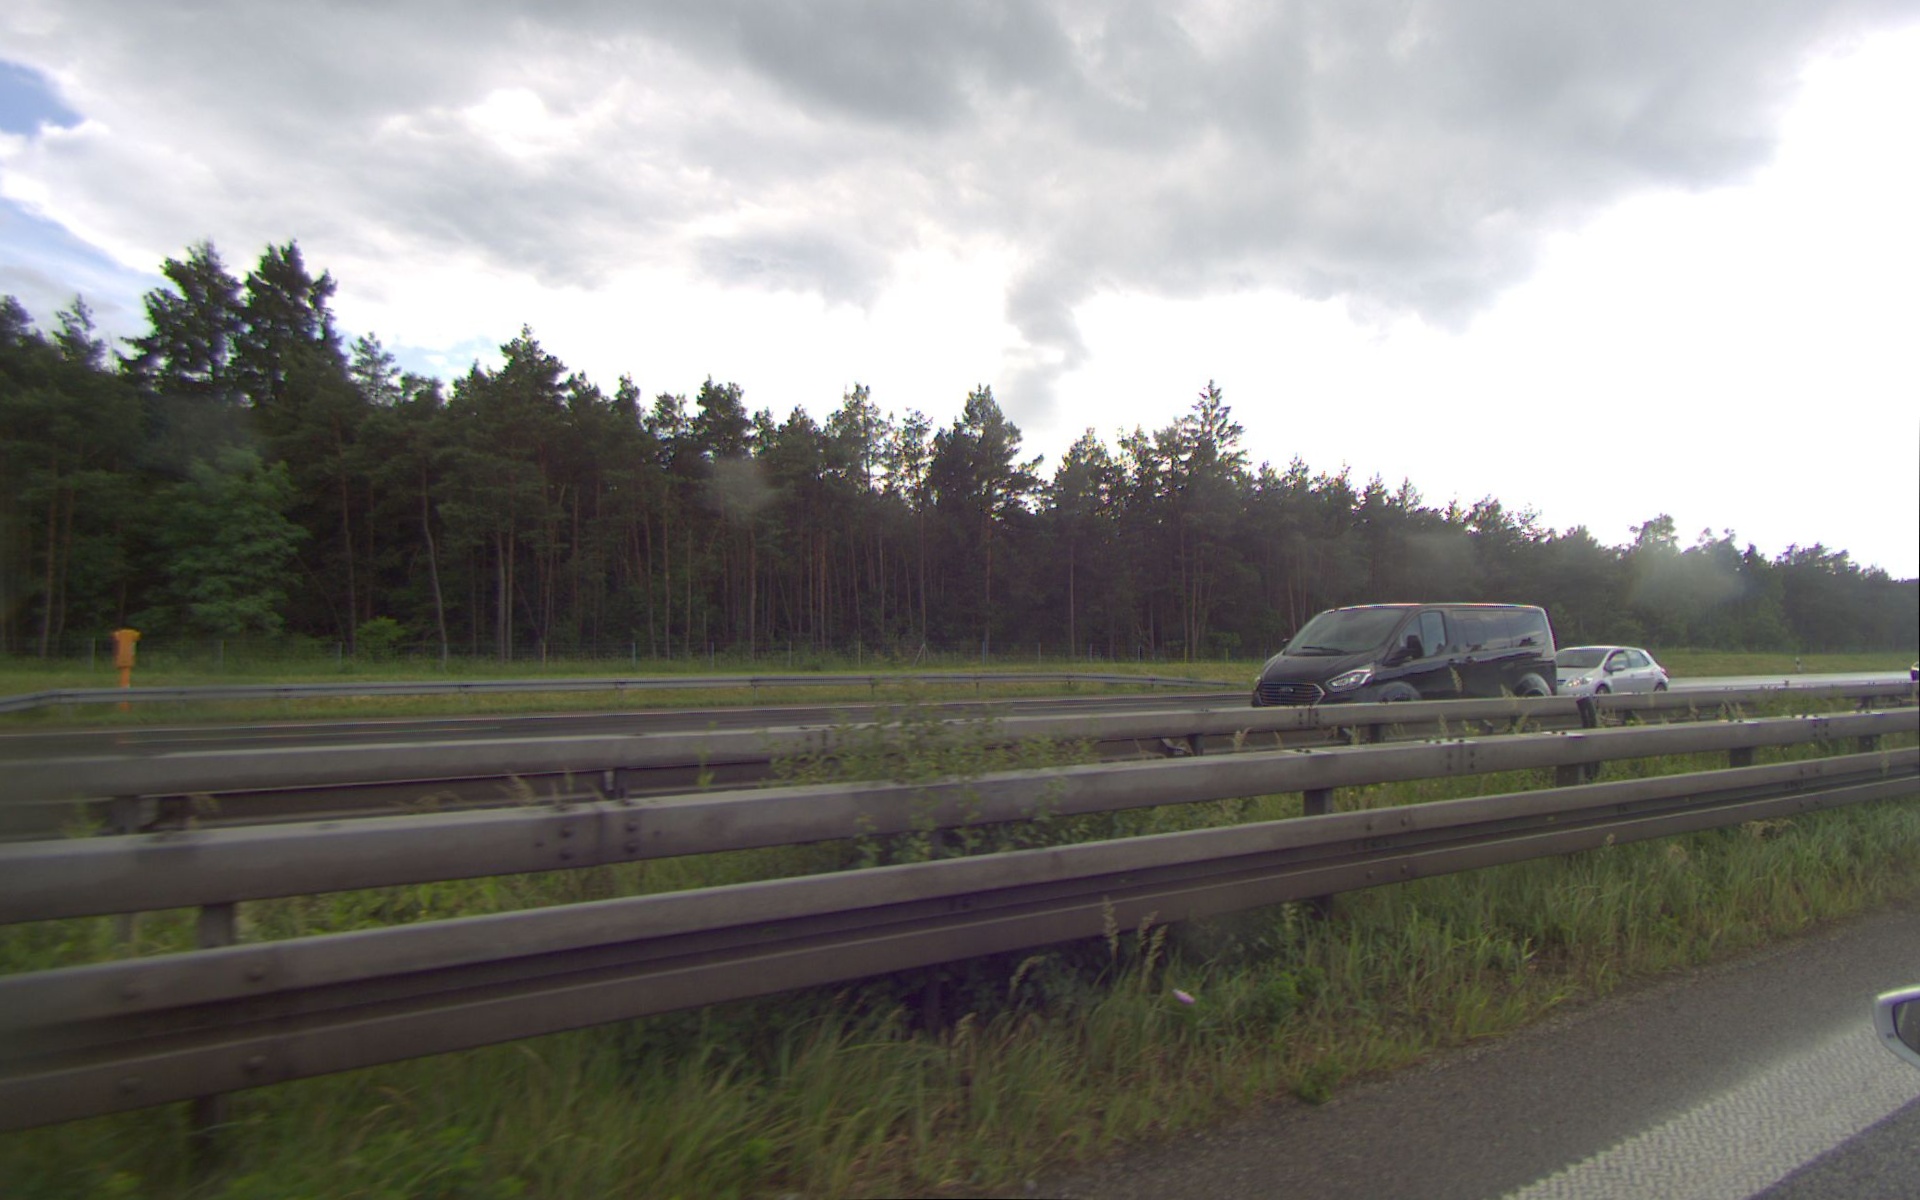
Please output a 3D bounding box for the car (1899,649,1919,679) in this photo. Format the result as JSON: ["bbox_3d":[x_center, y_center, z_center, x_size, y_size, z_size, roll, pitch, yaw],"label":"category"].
[{"bbox_3d":[45.304,2.911,46.385,4.208,1.376,1.690,1,-5,-31],"label":"car"}]

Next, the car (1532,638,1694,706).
[{"bbox_3d":[15.614,1.662,23.987,3.953,1.507,1.690,1,-2,-31],"label":"car"}]

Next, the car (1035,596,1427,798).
[{"bbox_3d":[3.354,1.059,12.195,4.572,2.040,1.984,2,-2,-31],"label":"car"}]
